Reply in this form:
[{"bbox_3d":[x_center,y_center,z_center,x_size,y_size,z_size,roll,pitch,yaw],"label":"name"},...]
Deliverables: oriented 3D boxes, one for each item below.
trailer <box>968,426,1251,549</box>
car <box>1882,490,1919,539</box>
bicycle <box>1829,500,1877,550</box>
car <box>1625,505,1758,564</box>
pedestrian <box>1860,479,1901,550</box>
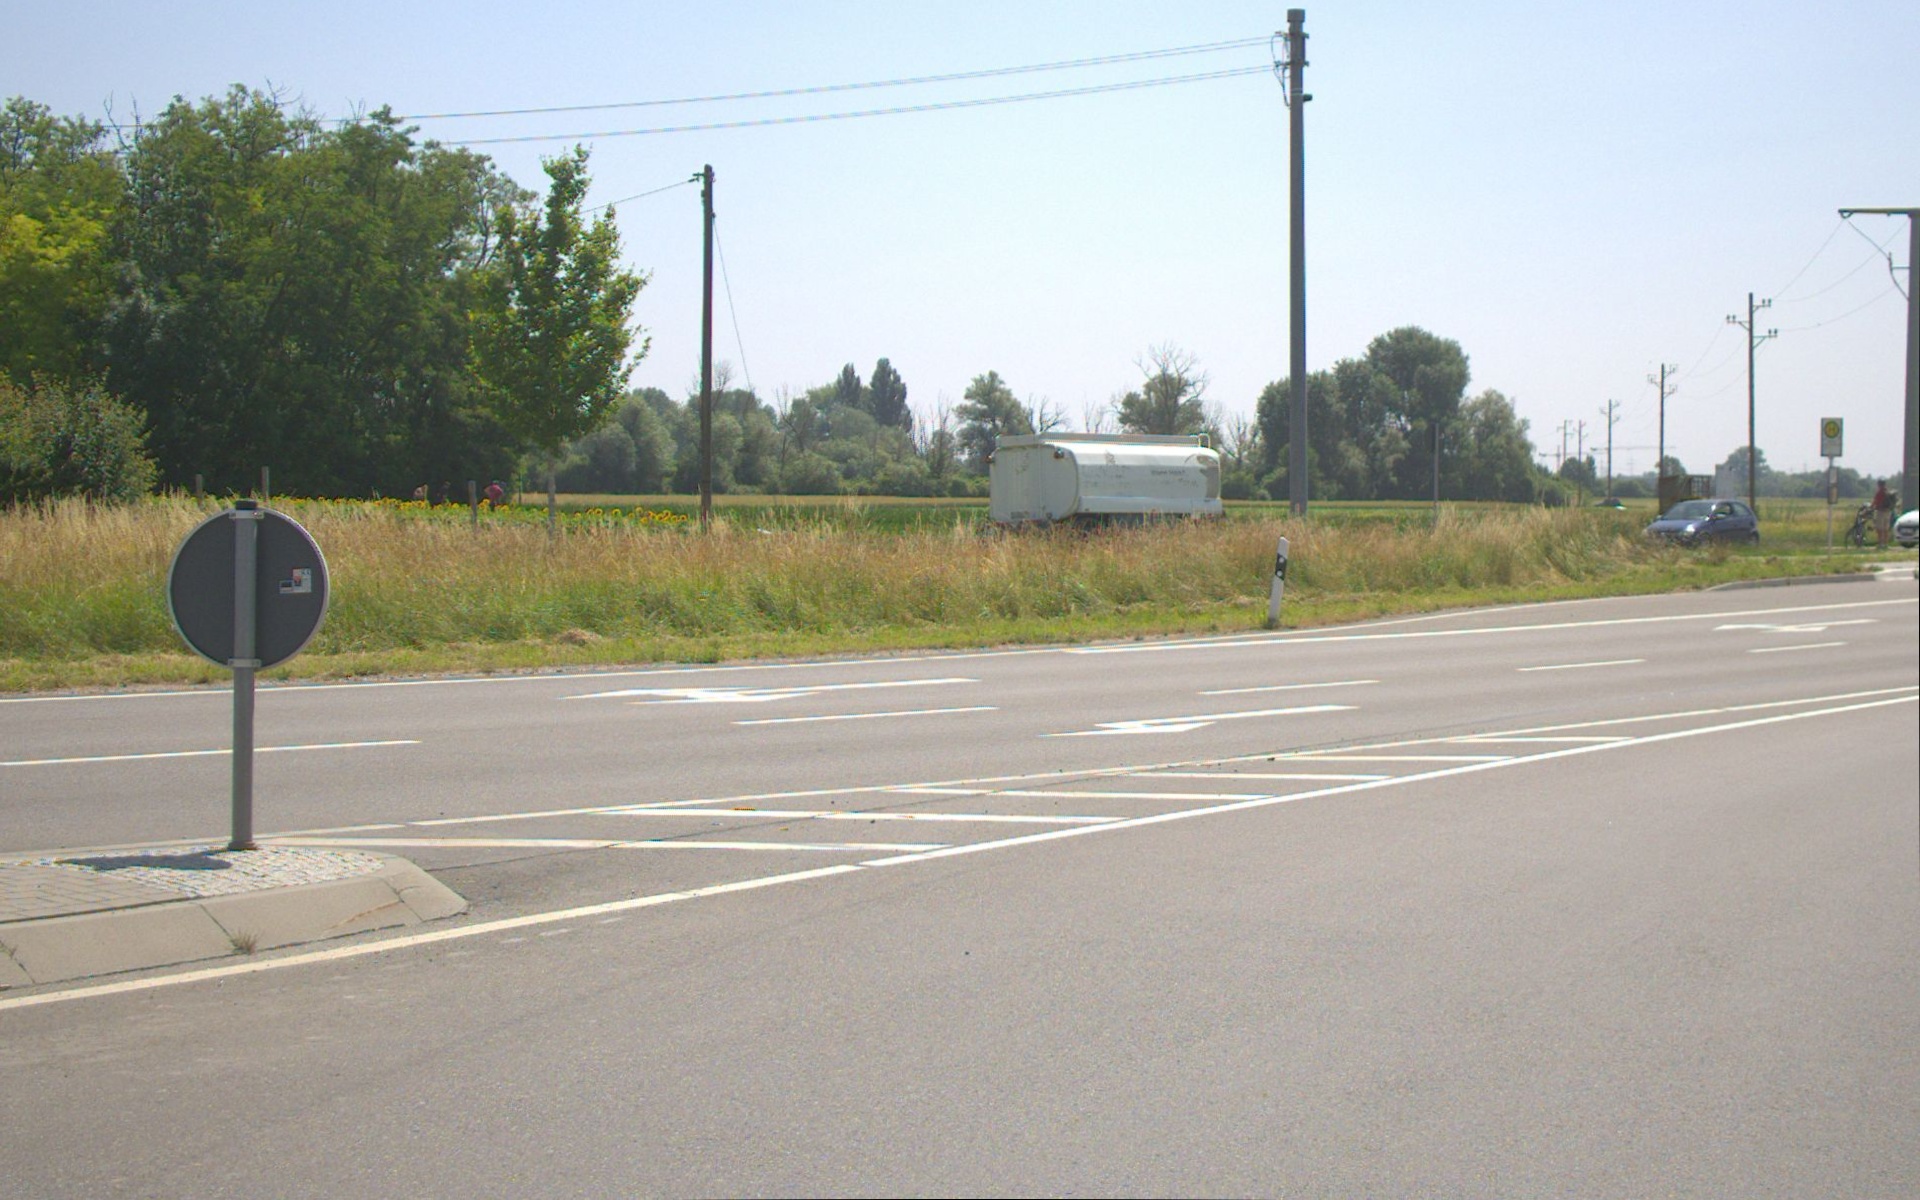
[{"bbox_3d":[3.233,-2.392,72.792,2.684,2.447,6.369,3,3,39],"label":"trailer"},{"bbox_3d":[27.895,-2.340,96.054,4.023,1.327,1.697,1,3,-29],"label":"car"},{"bbox_3d":[22.994,-1.928,88.516,0.492,1.243,1.506,4,3,44],"label":"bicycle"},{"bbox_3d":[18.339,-1.623,86.086,1.677,1.382,3.830,4,3,38],"label":"car"},{"bbox_3d":[23.686,-2.195,88.424,0.610,1.779,0.844,4,2,45],"label":"pedestrian"}]
